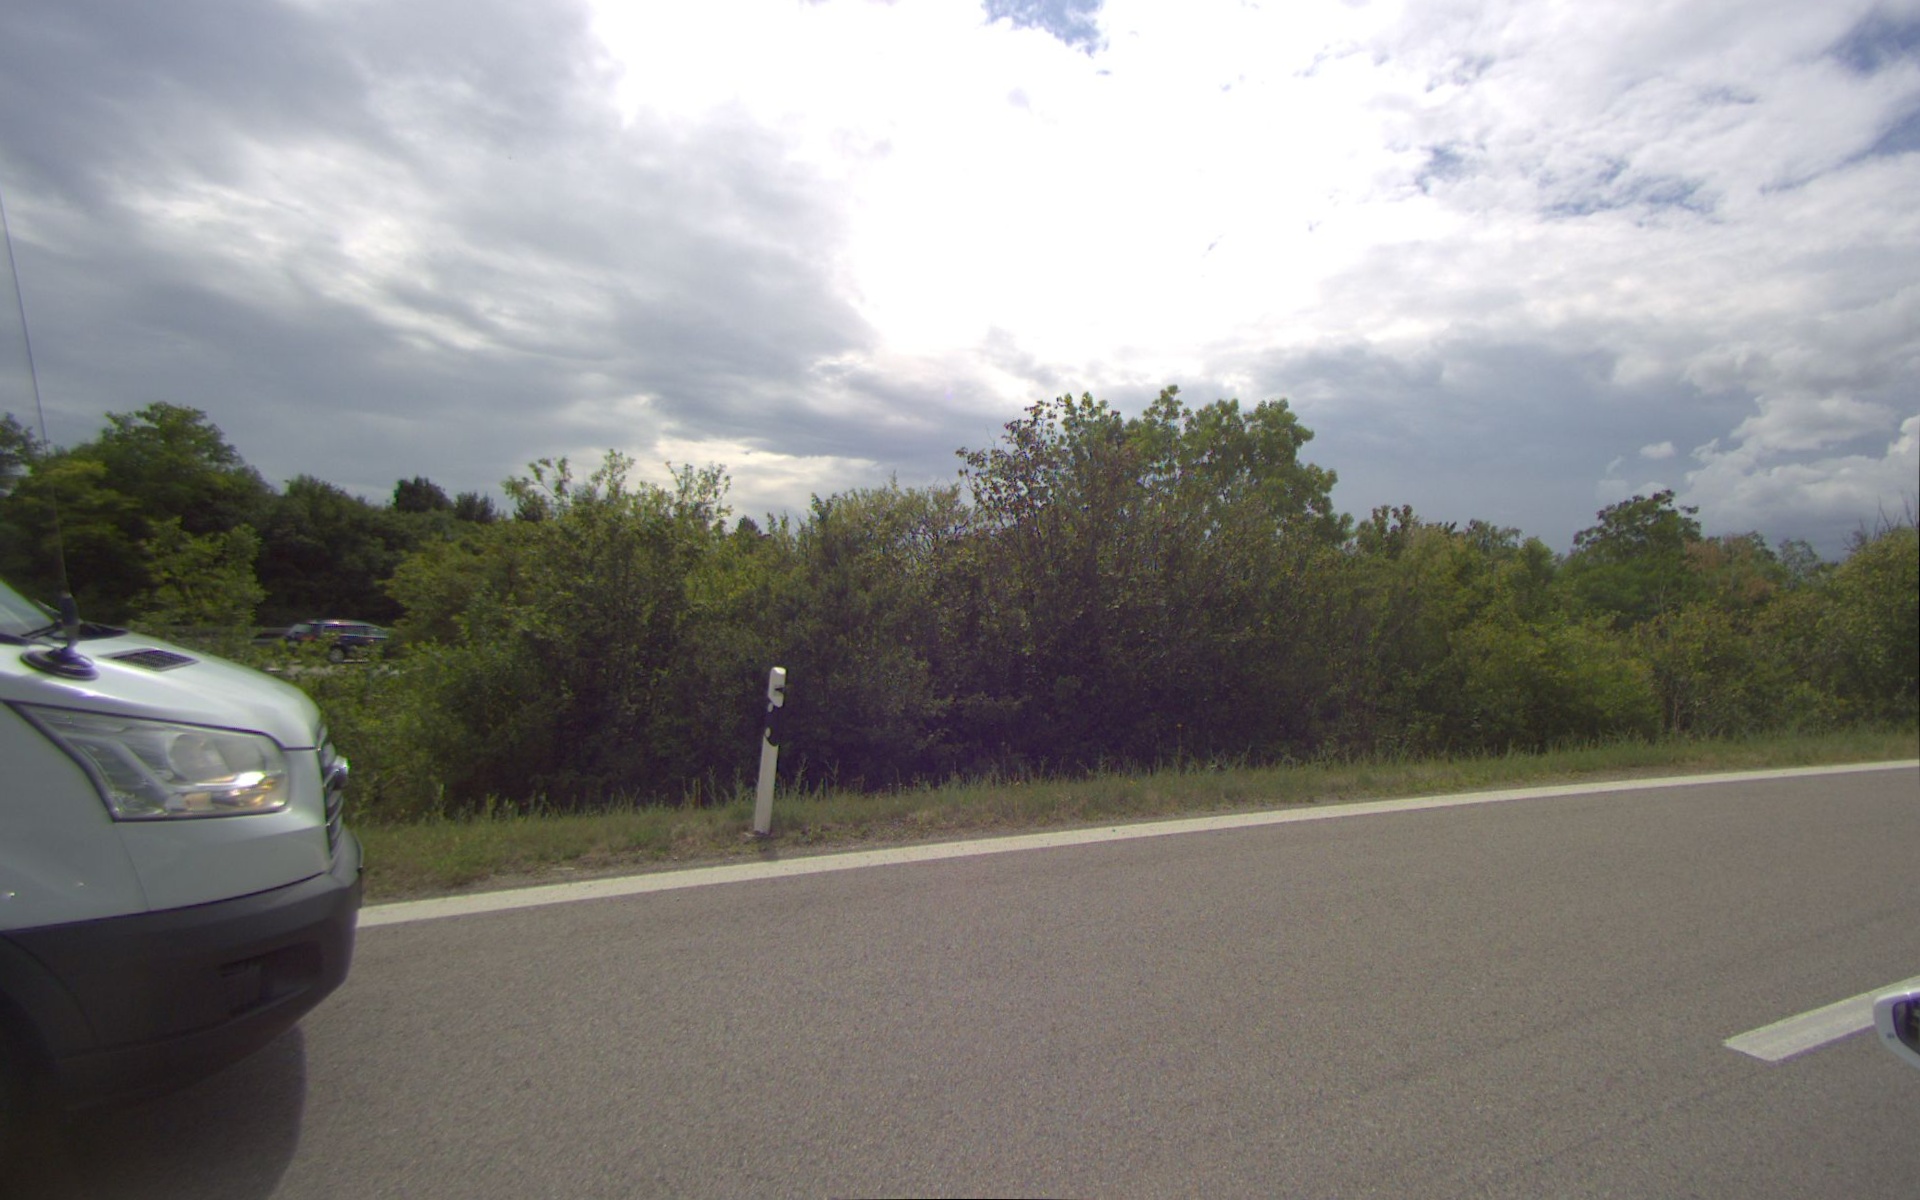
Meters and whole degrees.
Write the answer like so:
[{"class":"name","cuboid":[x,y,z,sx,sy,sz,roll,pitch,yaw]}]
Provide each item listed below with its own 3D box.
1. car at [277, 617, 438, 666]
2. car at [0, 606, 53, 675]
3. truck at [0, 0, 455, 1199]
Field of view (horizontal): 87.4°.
[{"class":"car","cuboid":[-21.805,1.496,36.587,1.962,1.620,4.727,1,-2,24]},{"class":"car","cuboid":[-23.954,0.866,22.635,1.963,1.623,4.803,1,-2,27]},{"class":"truck","cuboid":[-4.939,-0.233,1.306,7.390,3.210,2.545,2,0,-34]}]
